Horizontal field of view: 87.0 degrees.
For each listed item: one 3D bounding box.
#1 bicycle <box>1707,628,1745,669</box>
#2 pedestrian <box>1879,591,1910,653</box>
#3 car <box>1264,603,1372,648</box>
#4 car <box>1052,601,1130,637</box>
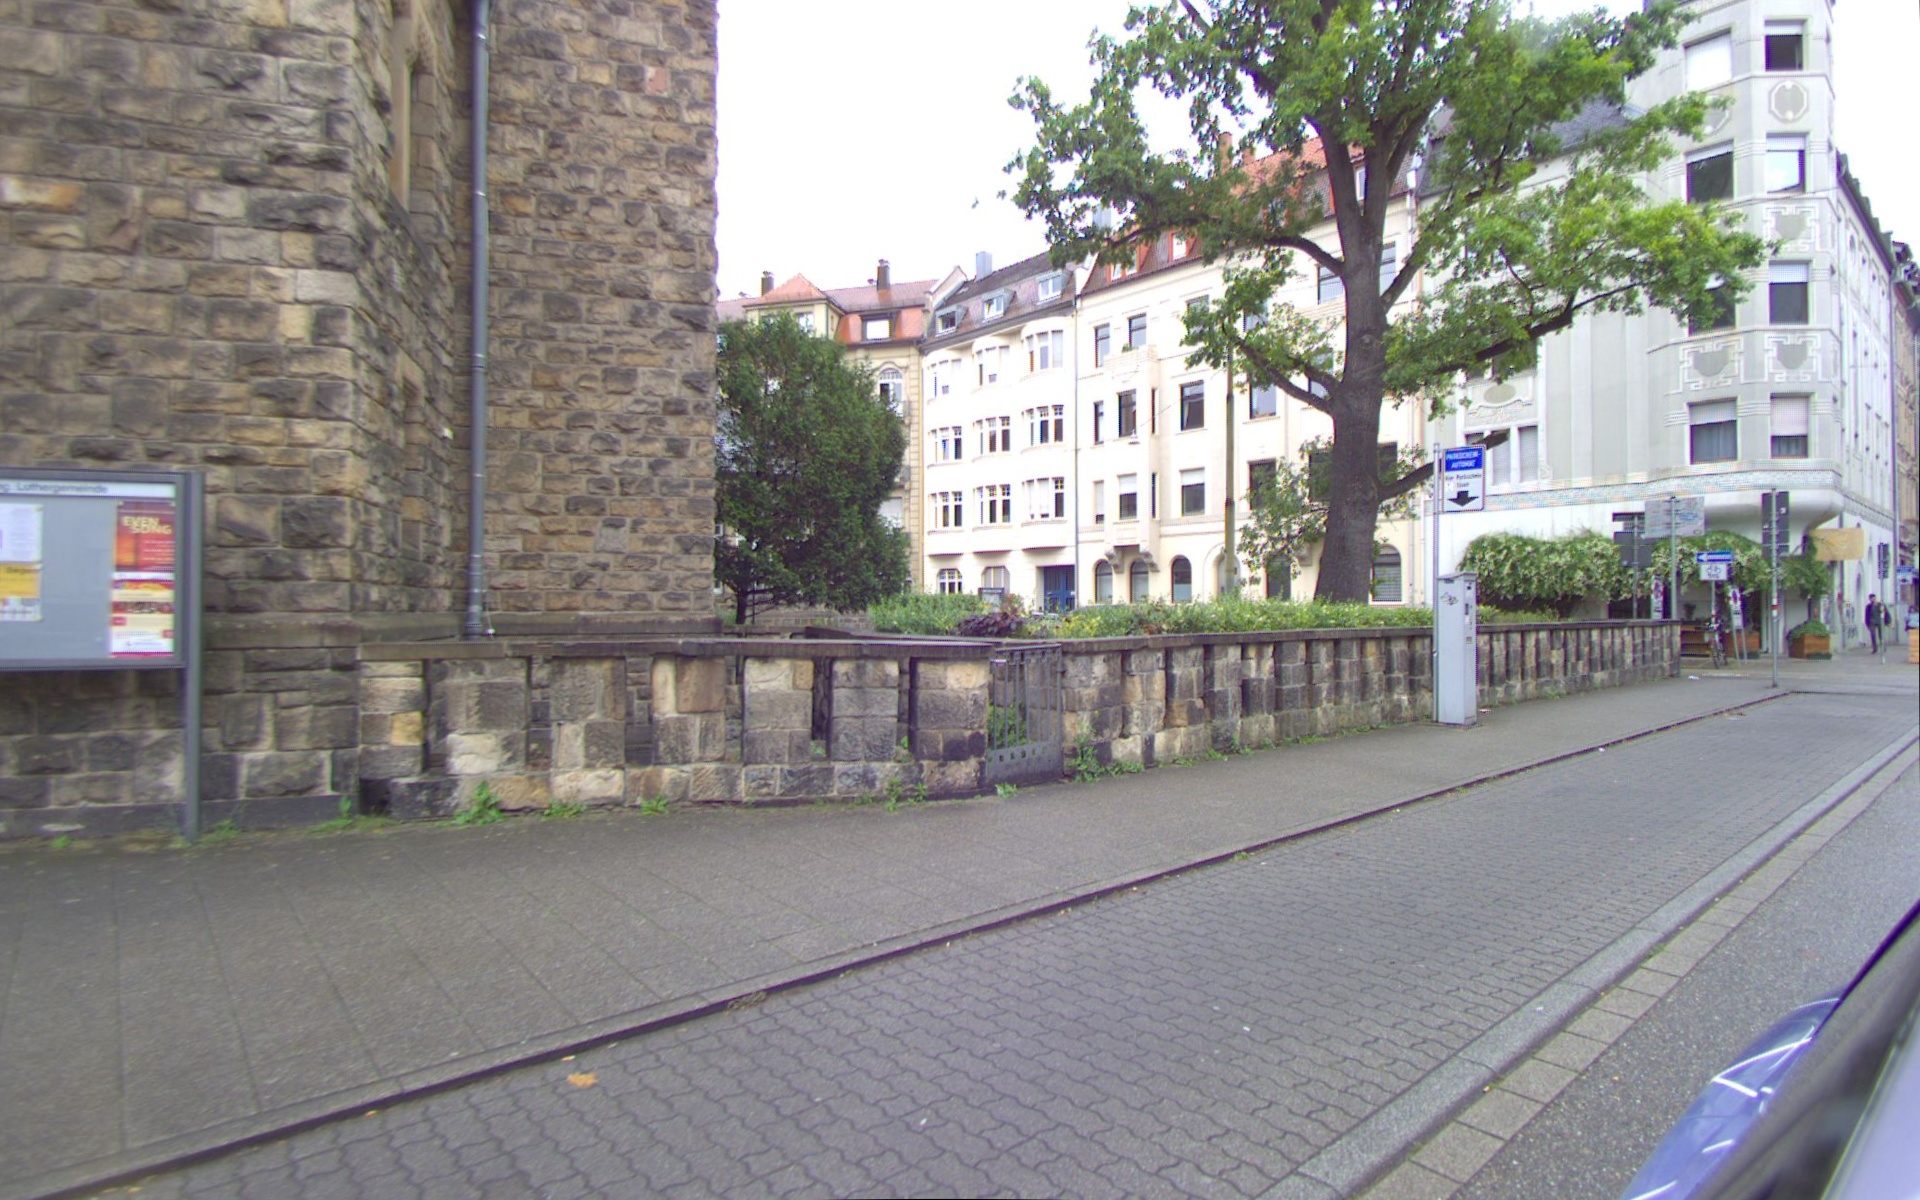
[{"bbox_3d":[19.961,1.244,26.352,1.989,0.904,0.390,-2,2,-41],"label":"bicycle"},{"bbox_3d":[29.363,0.684,31.802,0.681,1.896,0.645,1,0,-41],"label":"pedestrian"},{"bbox_3d":[12.299,0.851,34.876,1.421,1.427,3.271,1,0,-37],"label":"car"},{"bbox_3d":[5.580,0.792,43.251,1.421,1.427,3.271,1,0,-37],"label":"car"}]
